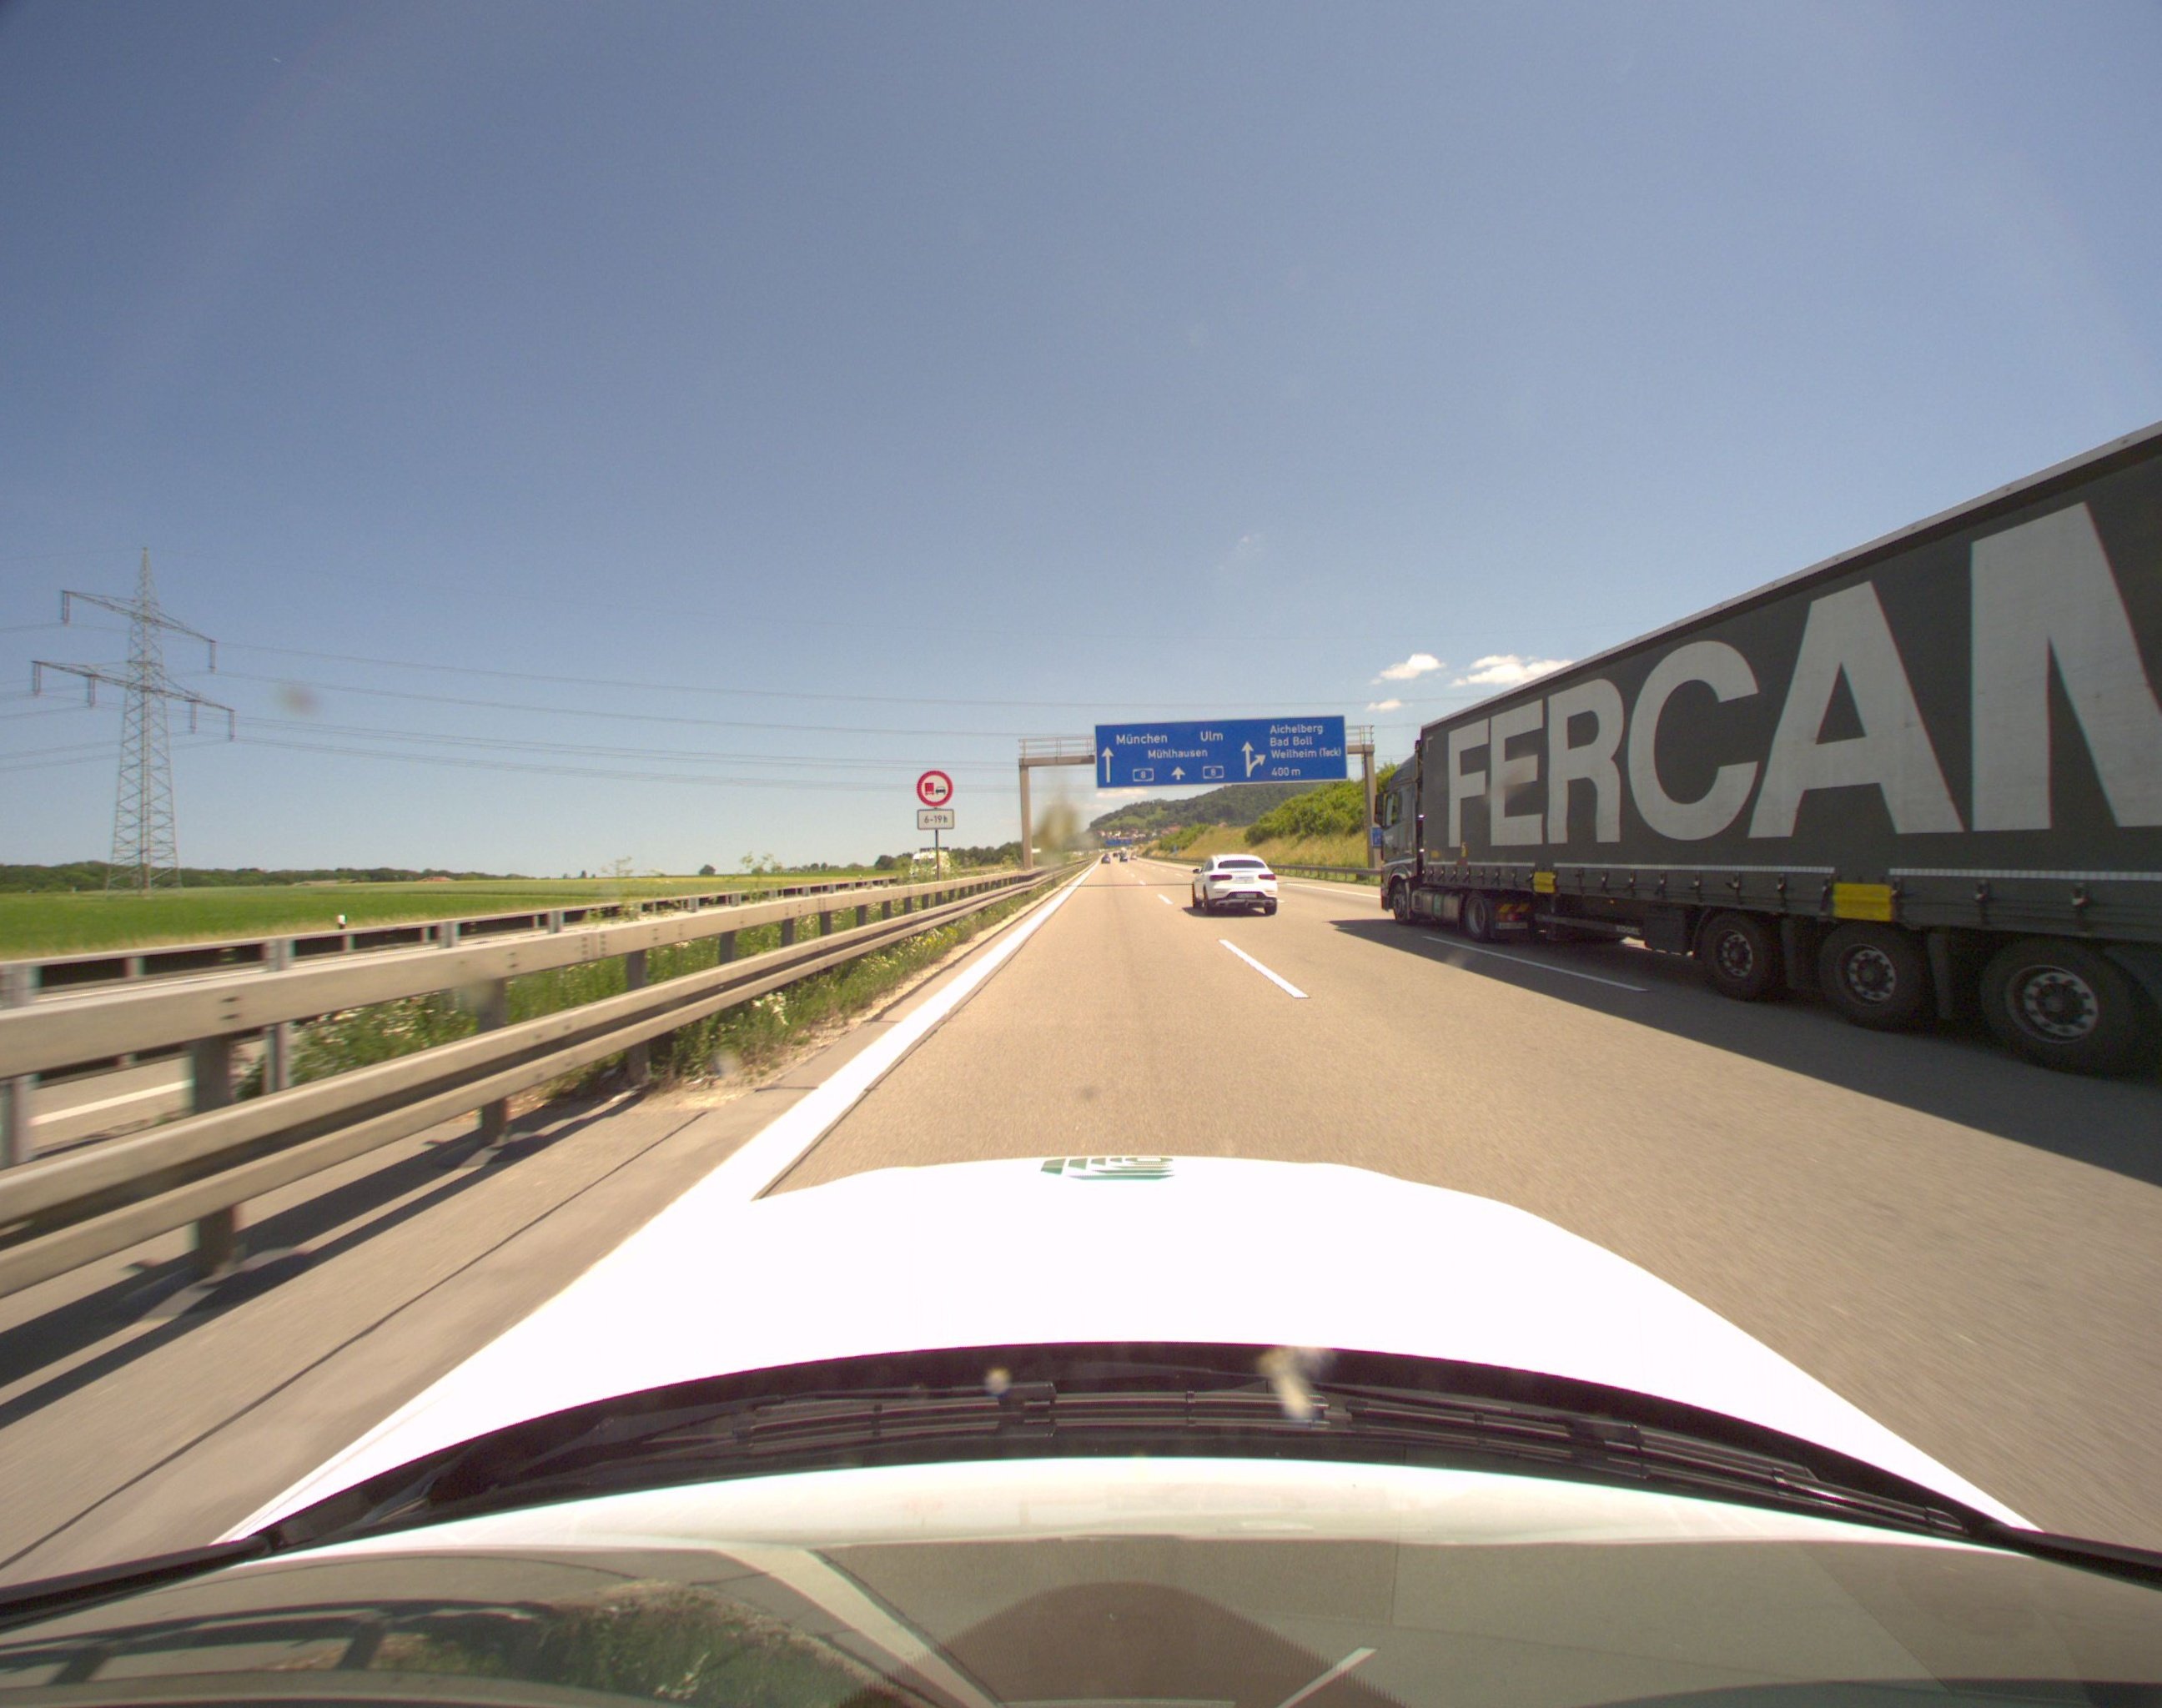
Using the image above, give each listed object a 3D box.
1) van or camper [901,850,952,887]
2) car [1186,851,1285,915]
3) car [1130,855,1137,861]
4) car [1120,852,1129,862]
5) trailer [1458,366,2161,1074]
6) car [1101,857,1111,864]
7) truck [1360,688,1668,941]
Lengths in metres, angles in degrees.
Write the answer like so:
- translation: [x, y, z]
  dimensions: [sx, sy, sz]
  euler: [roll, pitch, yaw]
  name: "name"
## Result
- translation: [-10.913, 0.998, 58.117]
  dimensions: [2.219, 2.508, 6.599]
  euler: [0, 0, 2]
  name: "van or camper"
- translation: [4.213, 0.751, 23.031]
  dimensions: [1.907, 1.581, 5.232]
  euler: [0, -1, 1]
  name: "car"
- translation: [15.221, 1.134, 237.017]
  dimensions: [1.986, 1.818, 4.002]
  euler: [-3, 0, 2]
  name: "car"
- translation: [9.645, 0.699, 180.763]
  dimensions: [1.986, 2.014, 4.002]
  euler: [0, -1, 2]
  name: "car"
- translation: [7.830, -0.753, 8.412]
  dimensions: [2.715, 4.155, 11.812]
  euler: [0, -1, 2]
  name: "trailer"
- translation: [4.710, 1.211, 153.409]
  dimensions: [1.986, 1.389, 4.002]
  euler: [0, -1, 2]
  name: "car"
- translation: [8.066, -0.595, 16.385]
  dimensions: [2.742, 4.020, 6.791]
  euler: [0, -1, 2]
  name: "truck"
